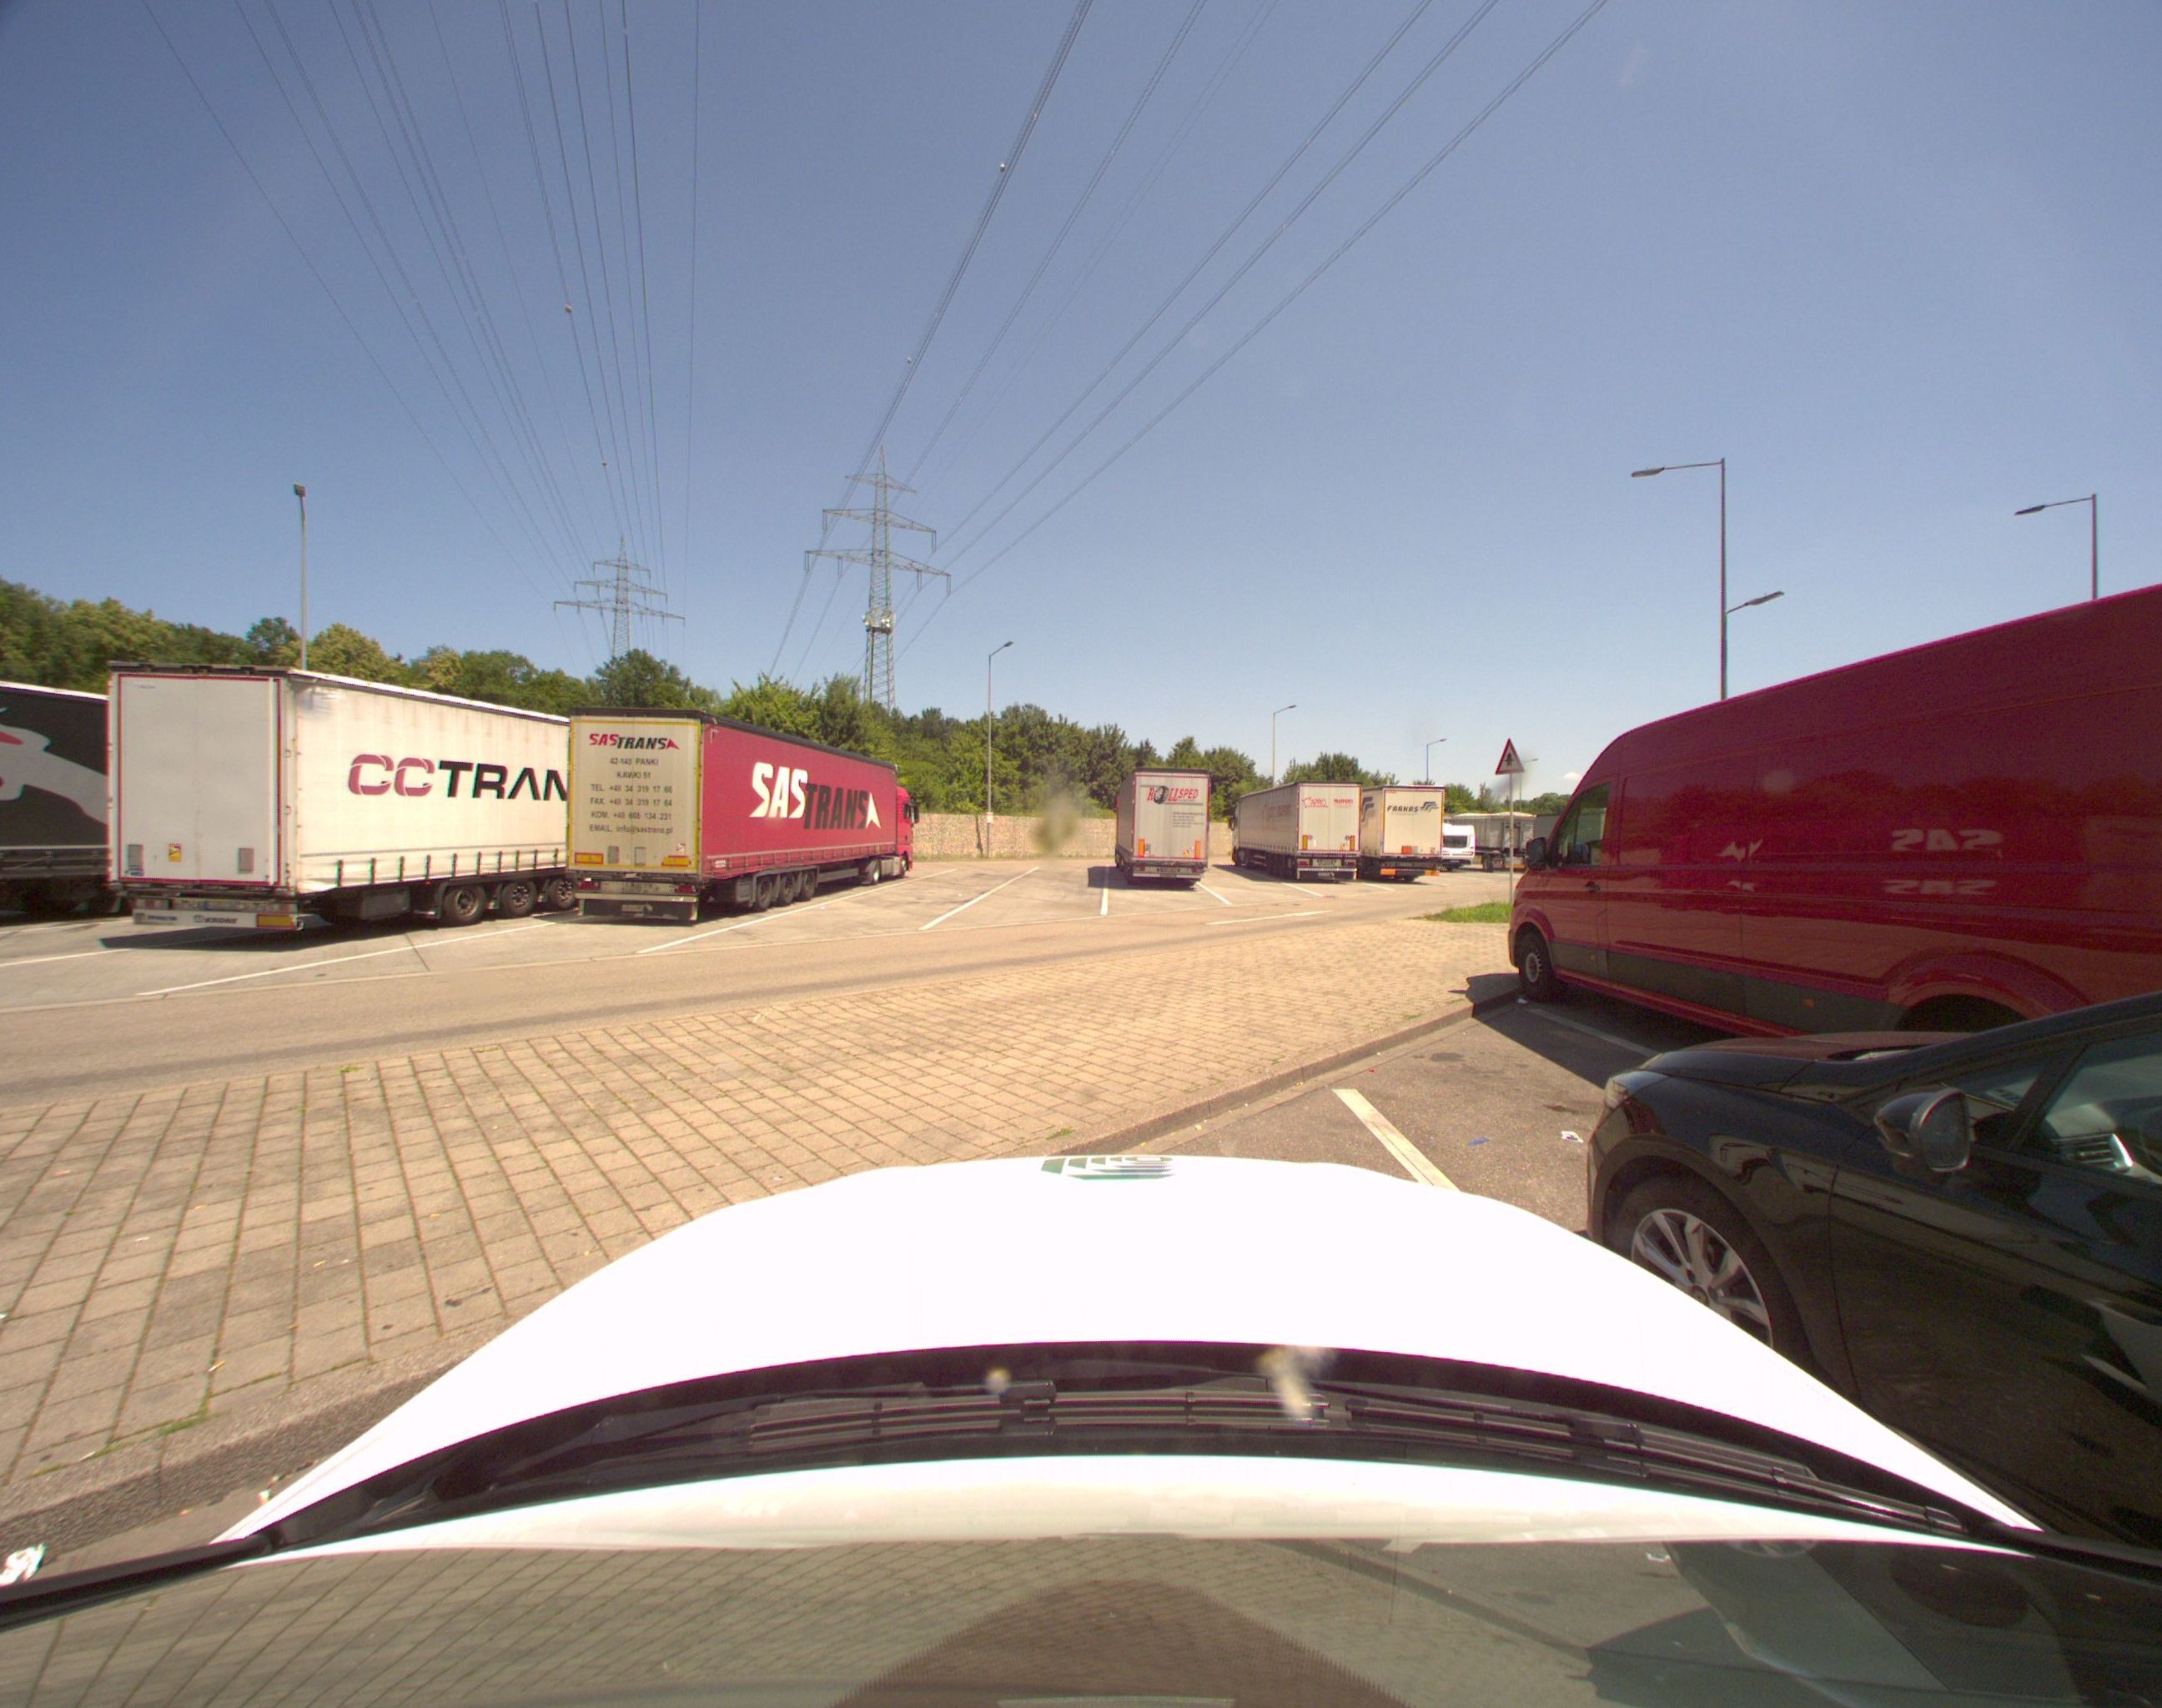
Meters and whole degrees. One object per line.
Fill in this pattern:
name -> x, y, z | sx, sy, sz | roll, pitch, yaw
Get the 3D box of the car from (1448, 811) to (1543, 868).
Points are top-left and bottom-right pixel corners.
car -> 24.143, -0.828, 47.757 | 2.490, 3.074, 6.353 | -1, 1, 2

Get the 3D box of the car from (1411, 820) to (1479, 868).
car -> 20.545, -0.524, 46.136 | 2.107, 2.599, 4.001 | 0, -1, 2

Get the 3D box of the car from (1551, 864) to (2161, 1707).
car -> 2.552, 0.753, 0.932 | 1.772, 1.457, 3.682 | 0, -1, -3

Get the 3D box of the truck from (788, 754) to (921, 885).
truck -> -7.743, -1.137, 28.717 | 2.795, 4.133, 5.896 | -1, 1, 2

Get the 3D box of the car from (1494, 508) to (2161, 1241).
car -> 5.129, 0.029, 5.498 | 1.984, 2.633, 6.393 | -1, 1, 5

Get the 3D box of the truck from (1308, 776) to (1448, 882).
truck -> 13.538, -0.945, 38.523 | 2.577, 4.226, 11.974 | 0, -1, 2

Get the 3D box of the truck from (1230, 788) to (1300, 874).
truck -> 10.084, -1.236, 45.182 | 2.651, 4.452, 5.866 | -1, 1, 2

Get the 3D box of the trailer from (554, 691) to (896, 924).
trailer -> -7.993, -0.947, 21.460 | 2.789, 4.219, 13.208 | -1, 1, 2

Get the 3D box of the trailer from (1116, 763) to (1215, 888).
trailer -> 2.983, -1.003, 32.104 | 2.887, 4.013, 11.319 | -1, 1, 1

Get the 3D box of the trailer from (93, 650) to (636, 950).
trailer -> -12.203, -0.809, 15.446 | 2.744, 4.152, 8.291 | 0, 1, 2

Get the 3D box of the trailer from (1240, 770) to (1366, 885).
trailer -> 9.910, -1.117, 38.167 | 2.672, 4.452, 12.833 | -1, 1, 1

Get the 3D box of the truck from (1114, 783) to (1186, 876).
truck -> 3.062, -1.090, 37.743 | 2.862, 3.980, 6.030 | 0, 1, 0

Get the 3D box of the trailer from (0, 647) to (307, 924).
trailer -> -18.555, -1.110, 14.907 | 2.668, 4.444, 6.151 | -1, 1, 2

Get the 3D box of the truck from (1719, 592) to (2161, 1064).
truck -> 7.803, -0.154, 6.063 | 2.508, 2.827, 4.821 | 0, -1, 3
